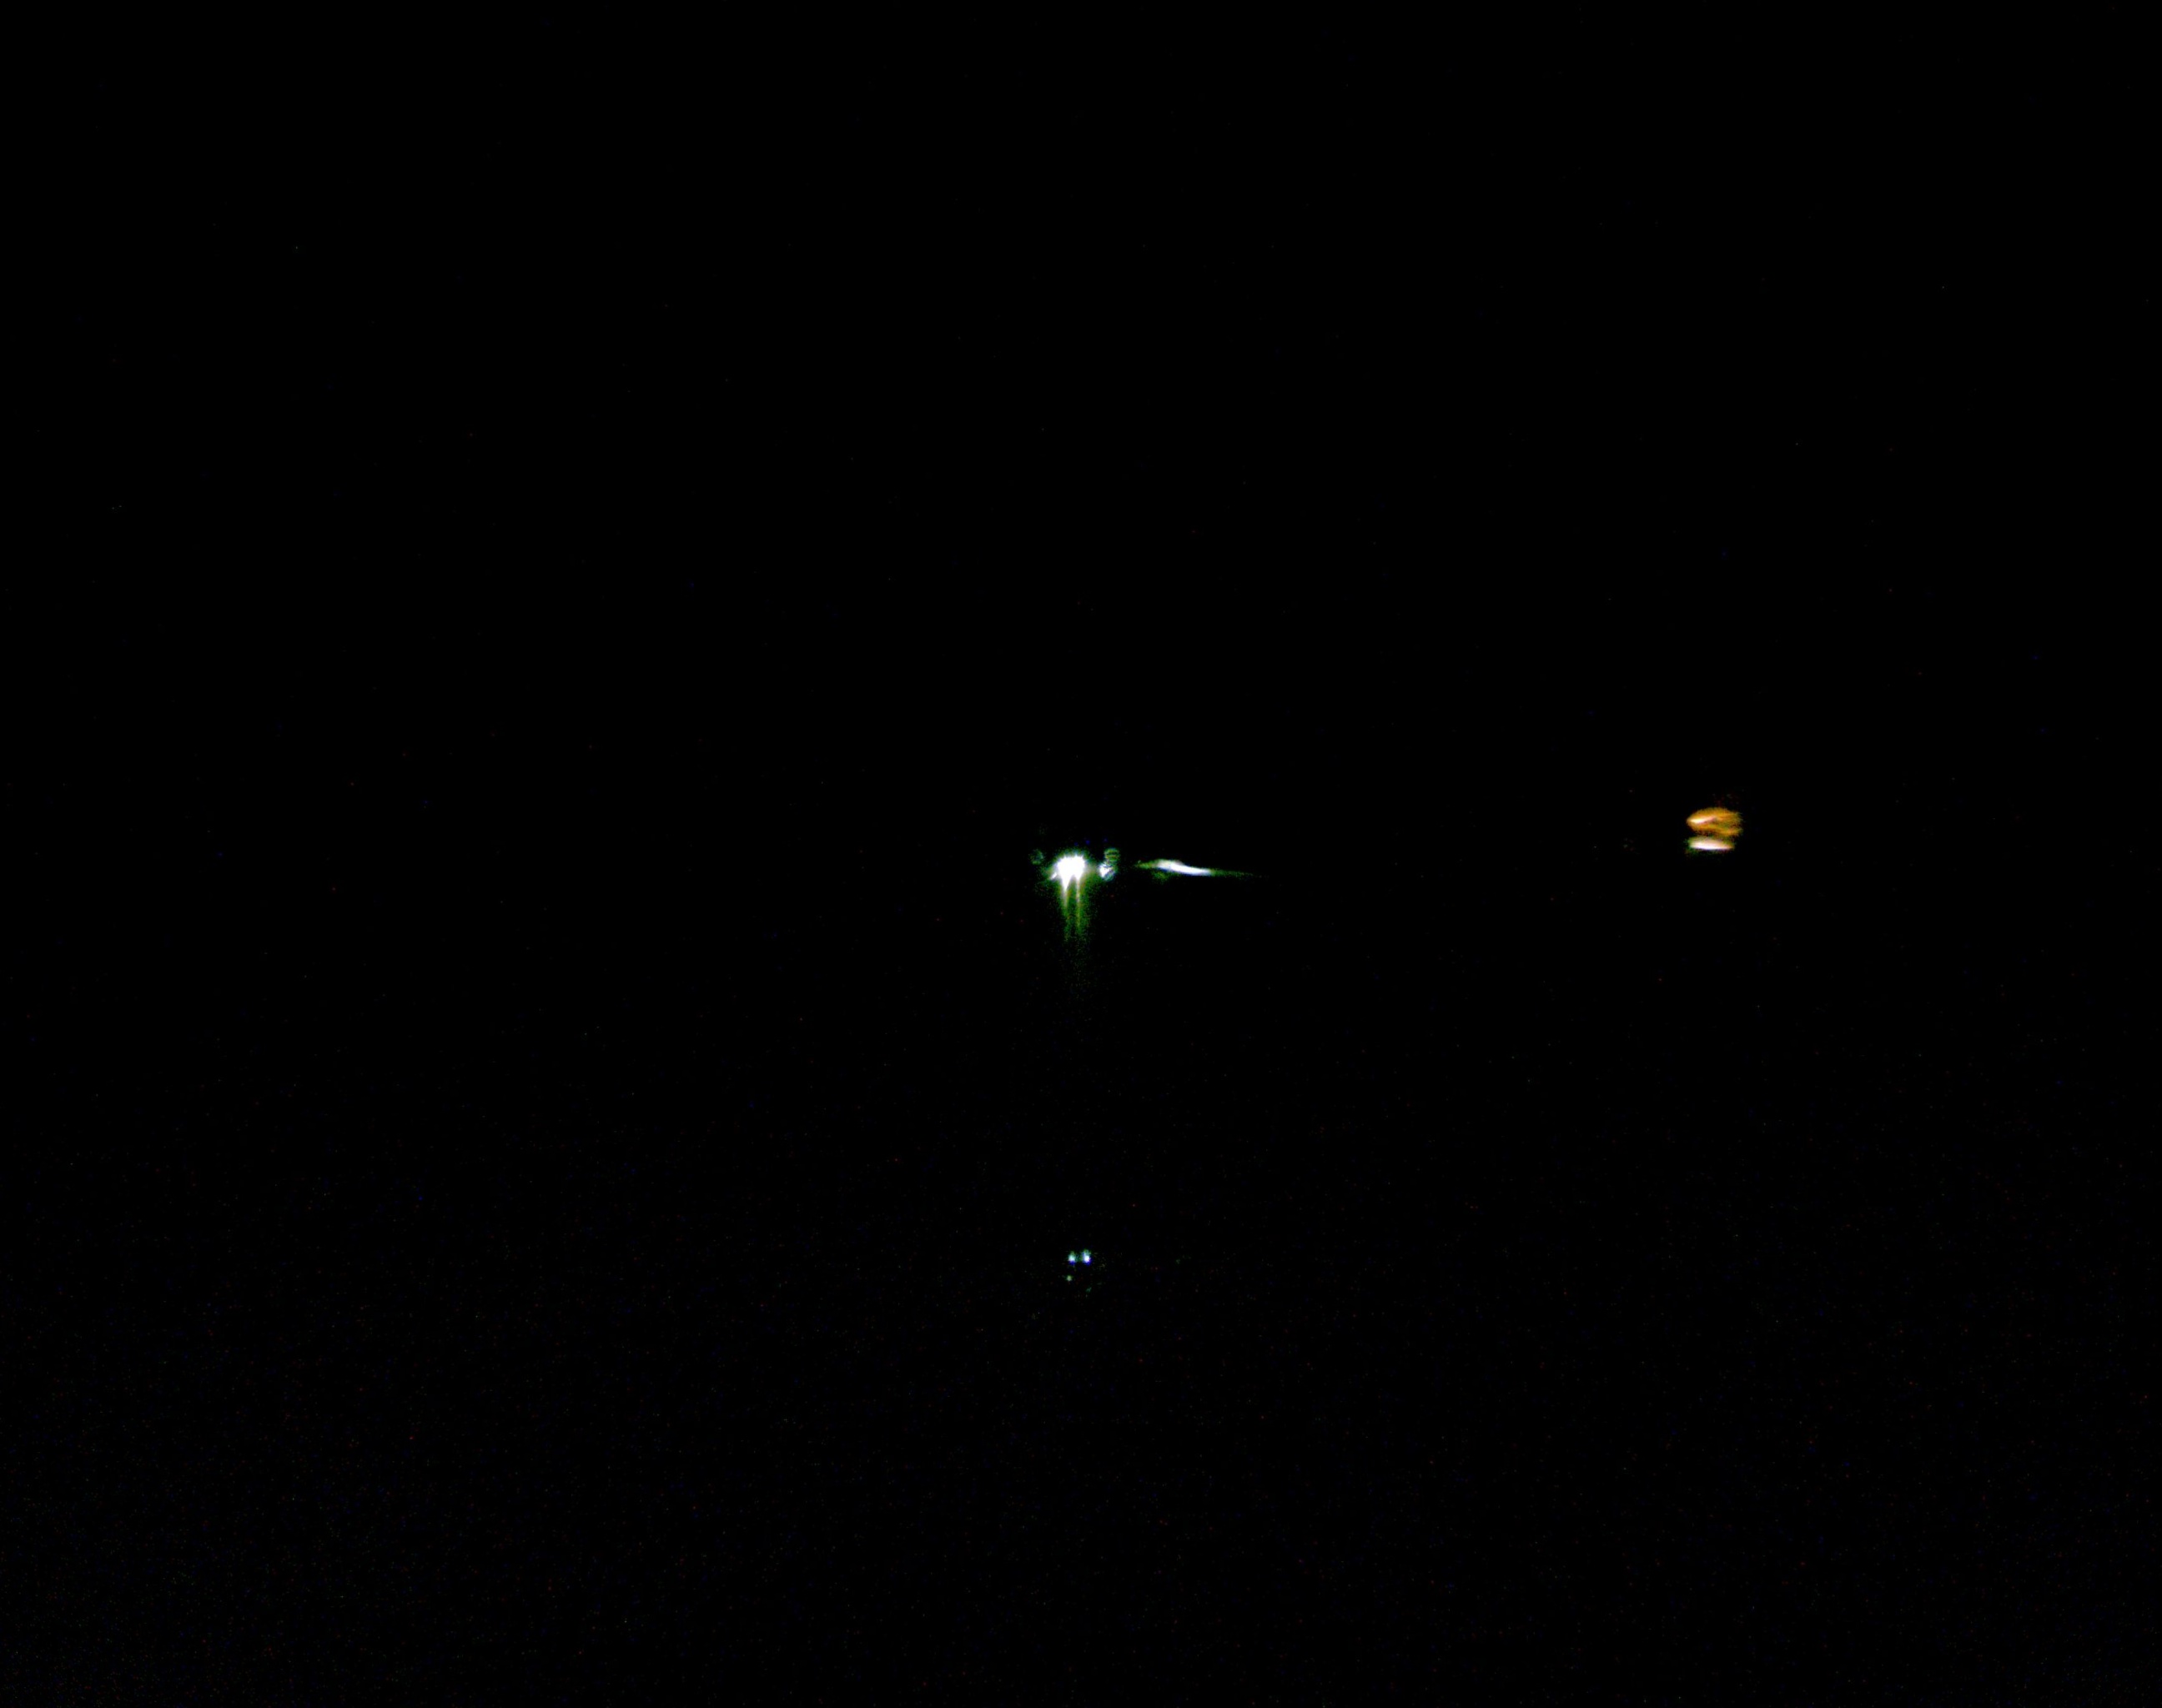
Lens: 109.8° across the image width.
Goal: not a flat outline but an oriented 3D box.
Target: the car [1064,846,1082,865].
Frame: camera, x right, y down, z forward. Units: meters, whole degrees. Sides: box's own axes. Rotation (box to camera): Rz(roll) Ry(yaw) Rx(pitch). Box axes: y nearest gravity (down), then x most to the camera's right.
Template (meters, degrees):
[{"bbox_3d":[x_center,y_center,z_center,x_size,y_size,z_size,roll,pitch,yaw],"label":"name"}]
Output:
[{"bbox_3d":[-0.980,0.148,92.725,1.998,2.003,3.998,-3,3,1],"label":"car"}]
